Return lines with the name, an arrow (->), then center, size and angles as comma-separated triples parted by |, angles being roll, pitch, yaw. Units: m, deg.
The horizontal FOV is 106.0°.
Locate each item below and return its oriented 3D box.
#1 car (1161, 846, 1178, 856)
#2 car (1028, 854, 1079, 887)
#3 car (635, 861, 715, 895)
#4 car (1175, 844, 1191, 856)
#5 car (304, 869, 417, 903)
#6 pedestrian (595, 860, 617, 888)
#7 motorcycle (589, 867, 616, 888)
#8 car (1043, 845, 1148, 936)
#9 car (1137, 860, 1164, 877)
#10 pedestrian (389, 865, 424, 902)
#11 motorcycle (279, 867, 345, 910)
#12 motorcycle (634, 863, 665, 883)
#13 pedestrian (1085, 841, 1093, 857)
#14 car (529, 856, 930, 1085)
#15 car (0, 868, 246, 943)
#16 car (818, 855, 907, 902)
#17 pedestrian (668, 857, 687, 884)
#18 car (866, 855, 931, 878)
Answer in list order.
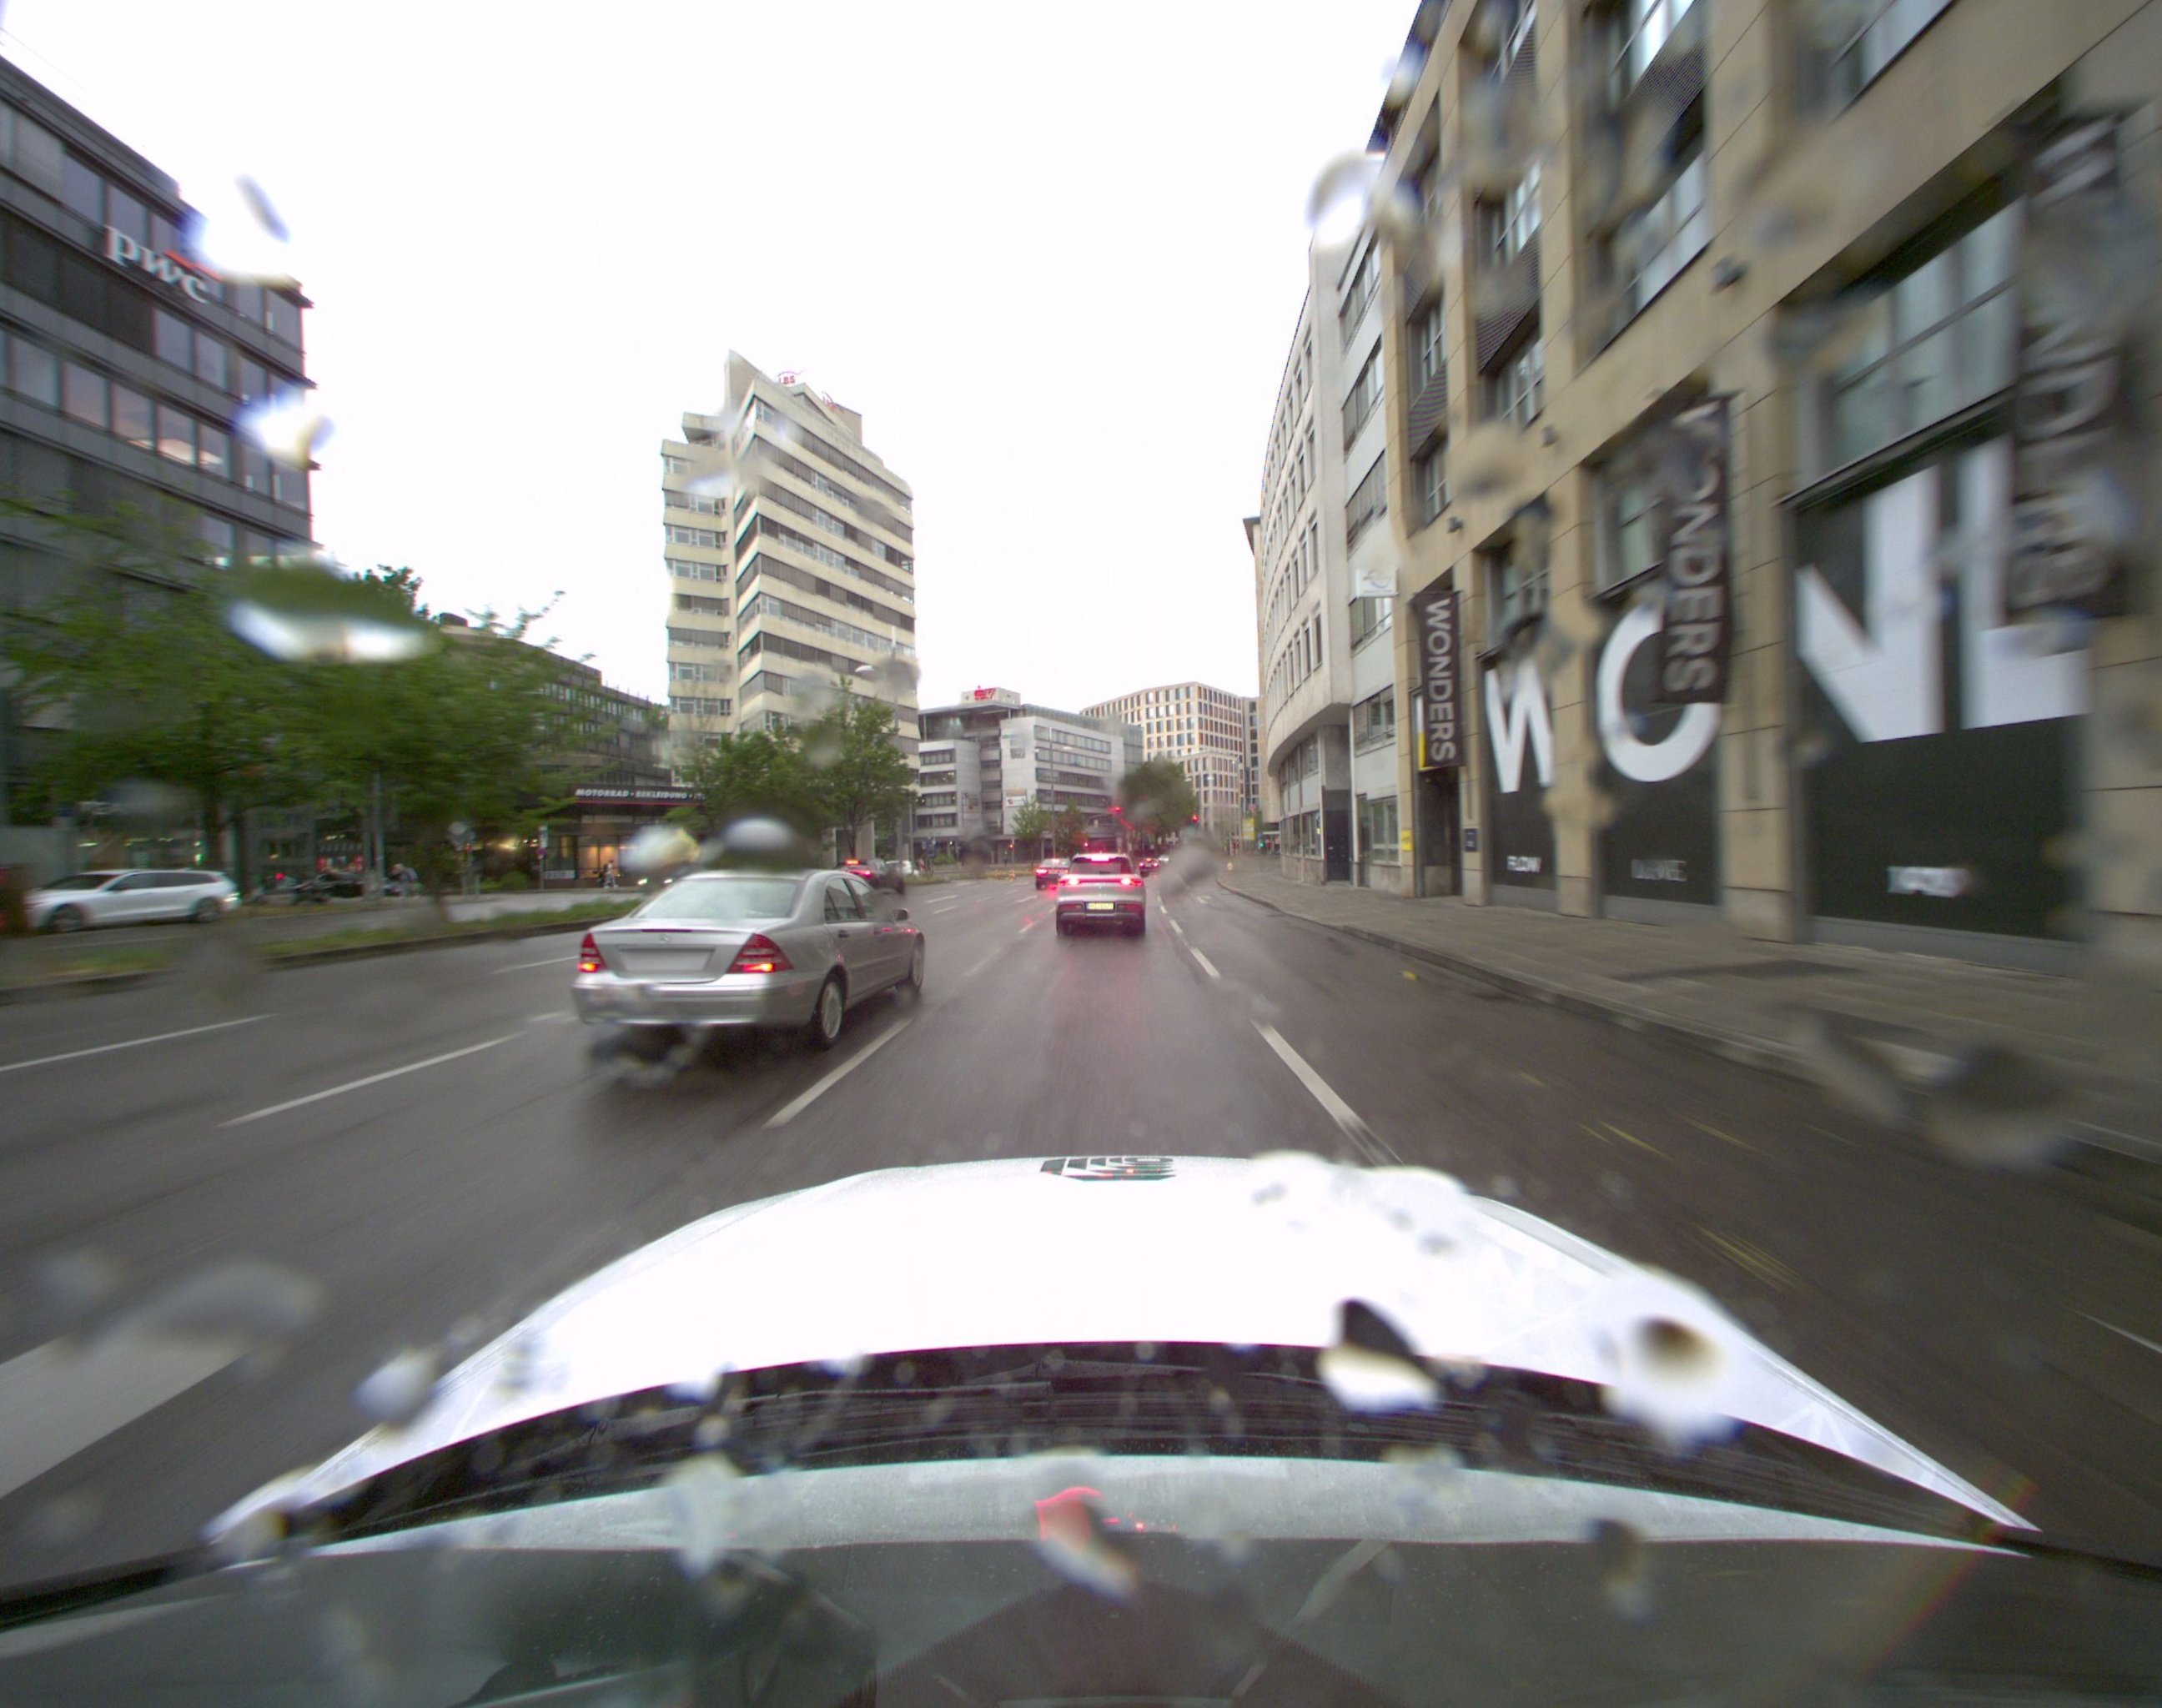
car -> 15.719, -0.584, 144.245 | 1.721, 1.728, 4.519 | 0, 0, 24
car -> -1.311, 0.797, 40.439 | 1.945, 1.530, 4.006 | -1, 0, 6
car -> -19.901, 1.143, 40.159 | 1.803, 1.476, 4.299 | -1, 0, -1
car -> 19.283, -0.754, 153.811 | 1.721, 2.161, 4.519 | 0, 0, 24
car -> -36.574, 1.620, 41.399 | 3.972, 1.640, 2.001 | 0, -1, 1
pedestrian -> -31.286, 1.303, 53.641 | 0.810, 1.832, 0.930 | -1, 0, 22
motorcycle -> -32.525, 1.584, 55.325 | 2.784, 1.333, 0.728 | -1, -1, 40
car -> 0.398, 0.702, 17.843 | 1.985, 1.709, 4.486 | -1, 0, 3
car -> 6.593, 1.354, 76.932 | 1.941, 1.530, 4.016 | -1, 0, 14
pedestrian -> -30.672, 1.312, 37.041 | 0.781, 1.637, 0.966 | -1, 0, 1
motorcycle -> -26.292, 1.145, 27.902 | 0.861, 1.394, 2.350 | 2, -2, -25
motorcycle -> -30.530, 1.322, 57.606 | 2.855, 1.374, 0.809 | -1, -1, 38
pedestrian -> 0.902, -0.592, 91.682 | 0.918, 1.738, 0.730 | -1, 0, 1
car -> -2.746, 0.788, 7.543 | 1.675, 1.486, 4.200 | -1, 0, 3
car -> -24.101, 1.157, 20.129 | 1.802, 1.485, 4.775 | 2, 0, 2
car -> -7.878, 0.848, 29.840 | 1.987, 1.544, 4.482 | -1, 0, 0
pedestrian -> -27.765, 1.130, 56.066 | 0.721, 1.832, 0.930 | -1, -1, 22
car -> -12.104, 0.837, 54.000 | 4.080, 1.431, 1.678 | -1, 0, -18
